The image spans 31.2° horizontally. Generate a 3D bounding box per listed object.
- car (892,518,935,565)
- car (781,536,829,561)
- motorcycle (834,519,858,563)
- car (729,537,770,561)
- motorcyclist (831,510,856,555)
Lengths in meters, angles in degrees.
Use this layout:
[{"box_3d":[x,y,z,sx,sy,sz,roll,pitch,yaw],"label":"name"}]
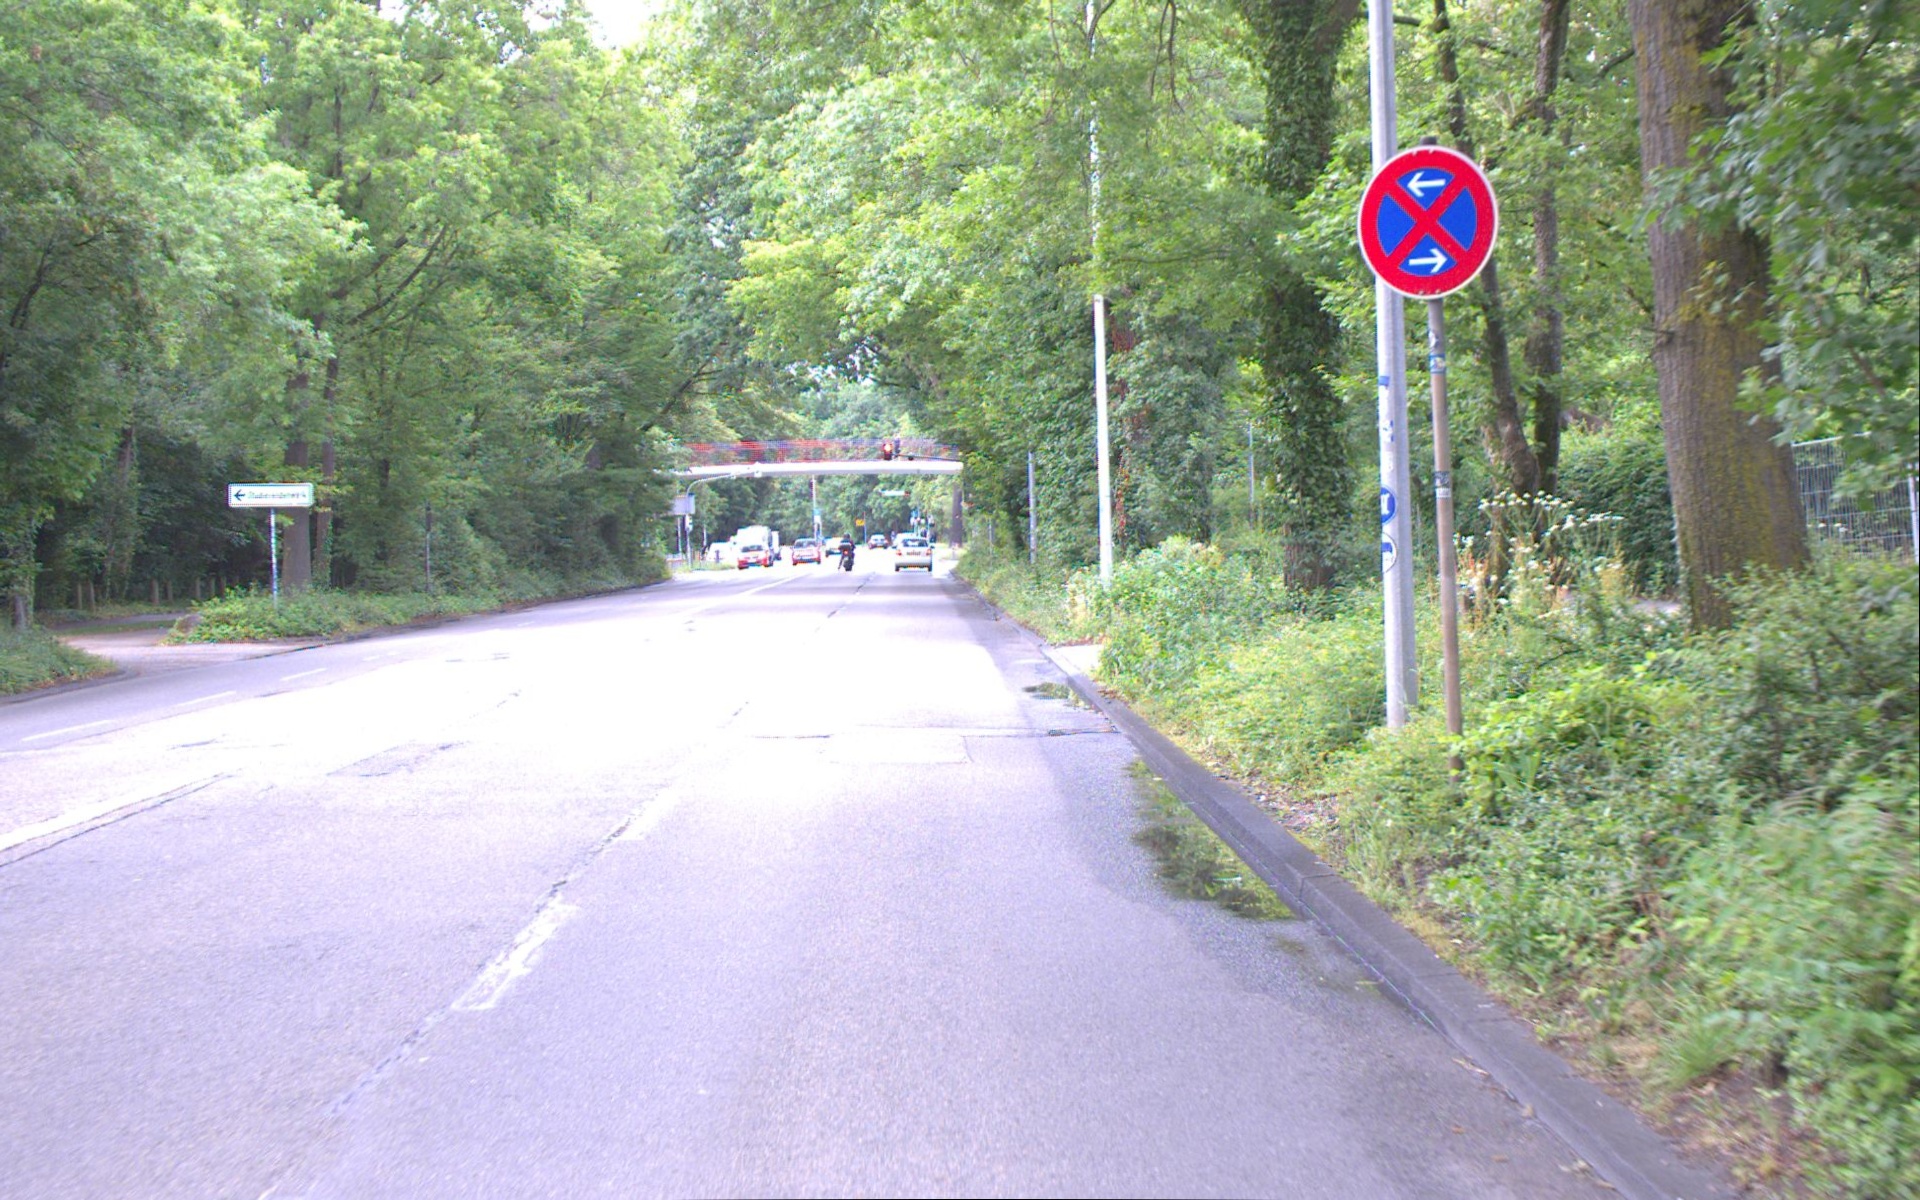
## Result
[{"box_3d":[-2.050,-2.563,150.005,1.843,2.007,4.000,0,1,-1],"label":"car"},{"box_3d":[-8.869,-2.962,197.070,1.676,1.357,3.919,0,1,14],"label":"car"},{"box_3d":[-5.082,-2.647,153.613,0.990,1.929,2.669,0,1,-1],"label":"motorcycle"},{"box_3d":[-12.044,-2.923,196.632,1.993,1.349,3.894,0,1,2],"label":"car"},{"box_3d":[-5.191,-3.002,153.401,1.063,2.007,0.843,0,1,-1],"label":"motorcyclist"}]
